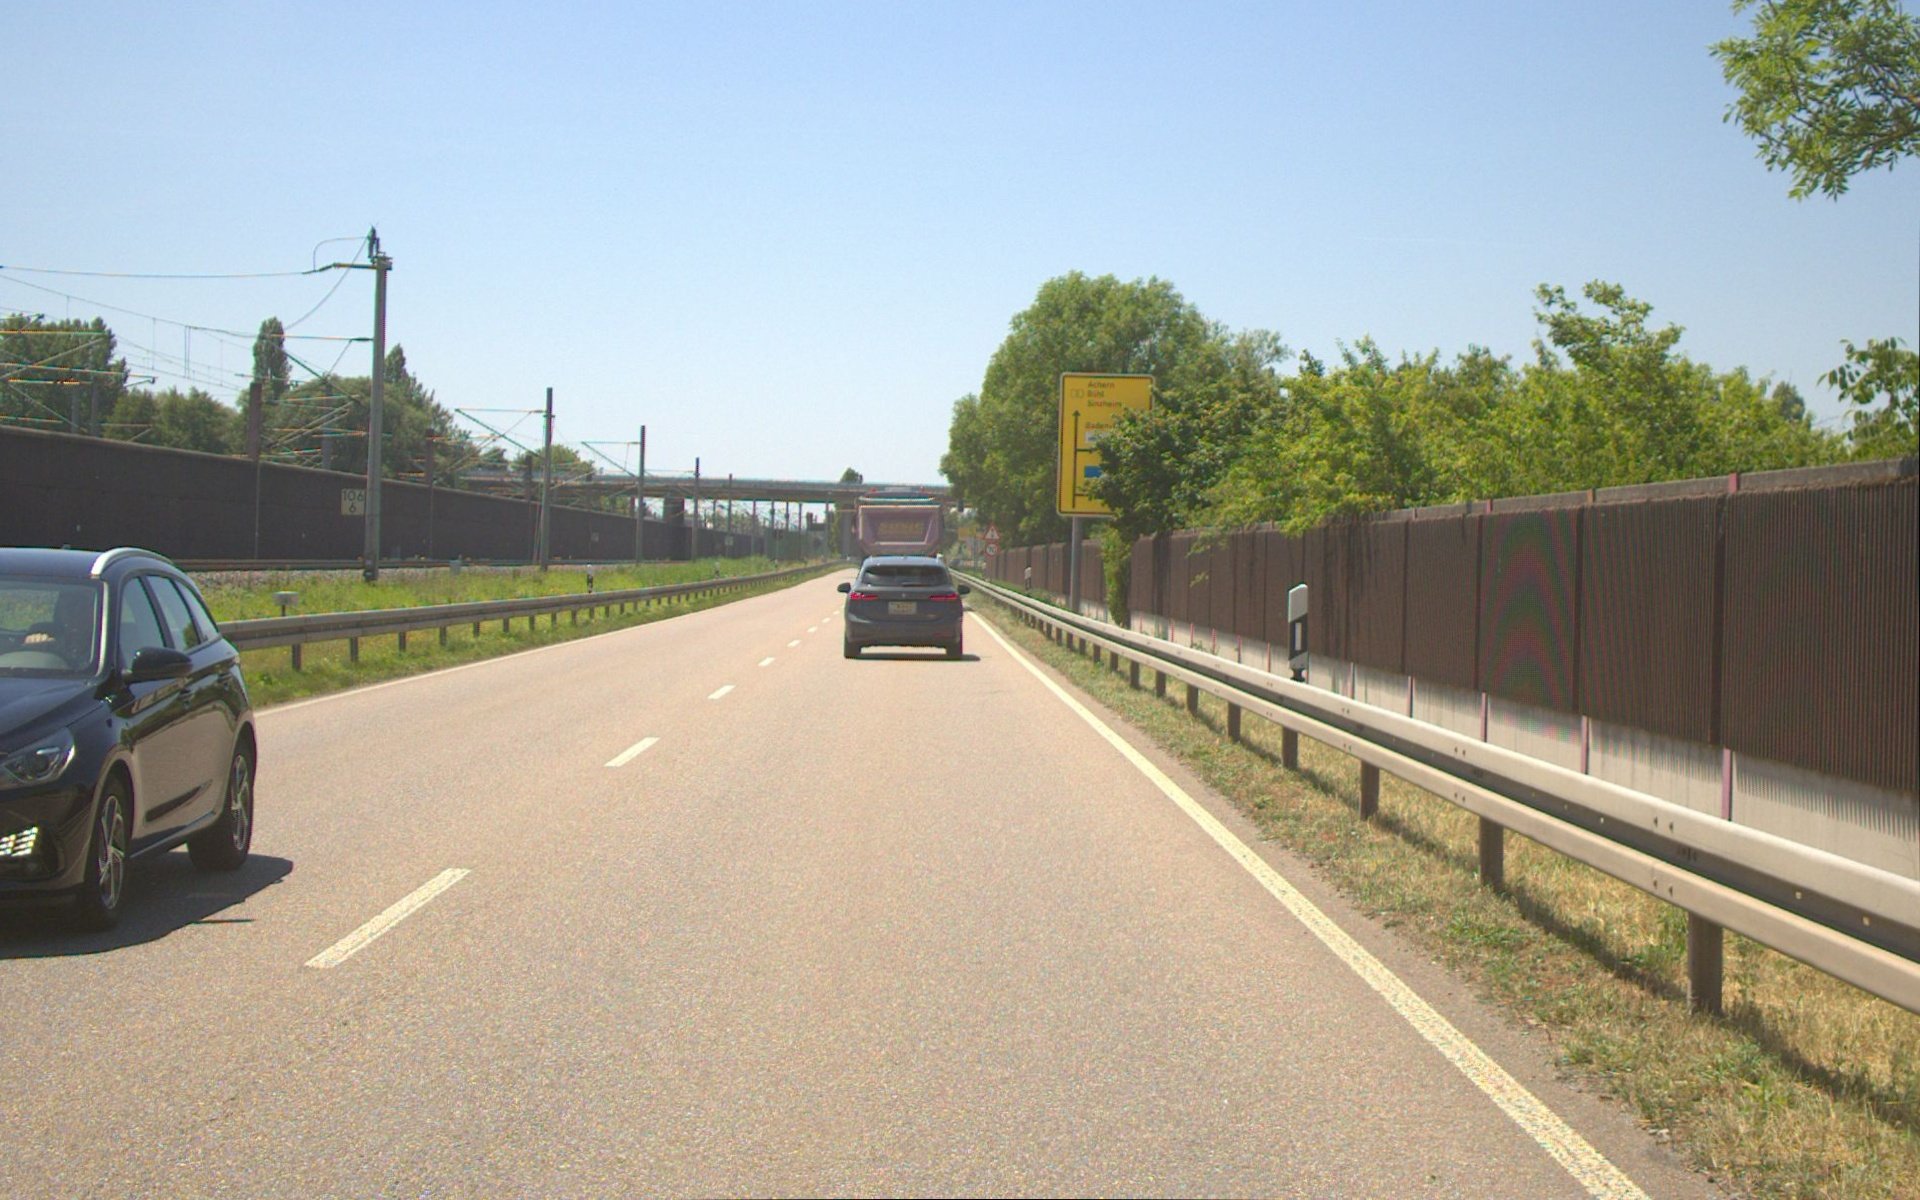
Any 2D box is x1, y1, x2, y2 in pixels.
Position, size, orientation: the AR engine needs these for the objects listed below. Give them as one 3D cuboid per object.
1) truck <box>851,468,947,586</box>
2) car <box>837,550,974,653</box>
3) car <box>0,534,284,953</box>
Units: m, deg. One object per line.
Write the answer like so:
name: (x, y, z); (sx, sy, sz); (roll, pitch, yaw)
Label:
truck: (-1.827, -2.202, 105.456); (2.770, 3.413, 10.820); (1, 1, -1)
car: (-0.876, -0.005, 53.199); (1.993, 1.503, 4.001); (0, 1, -3)
car: (-4.220, 0.474, 14.409); (1.975, 1.503, 4.163); (1, 1, -1)
